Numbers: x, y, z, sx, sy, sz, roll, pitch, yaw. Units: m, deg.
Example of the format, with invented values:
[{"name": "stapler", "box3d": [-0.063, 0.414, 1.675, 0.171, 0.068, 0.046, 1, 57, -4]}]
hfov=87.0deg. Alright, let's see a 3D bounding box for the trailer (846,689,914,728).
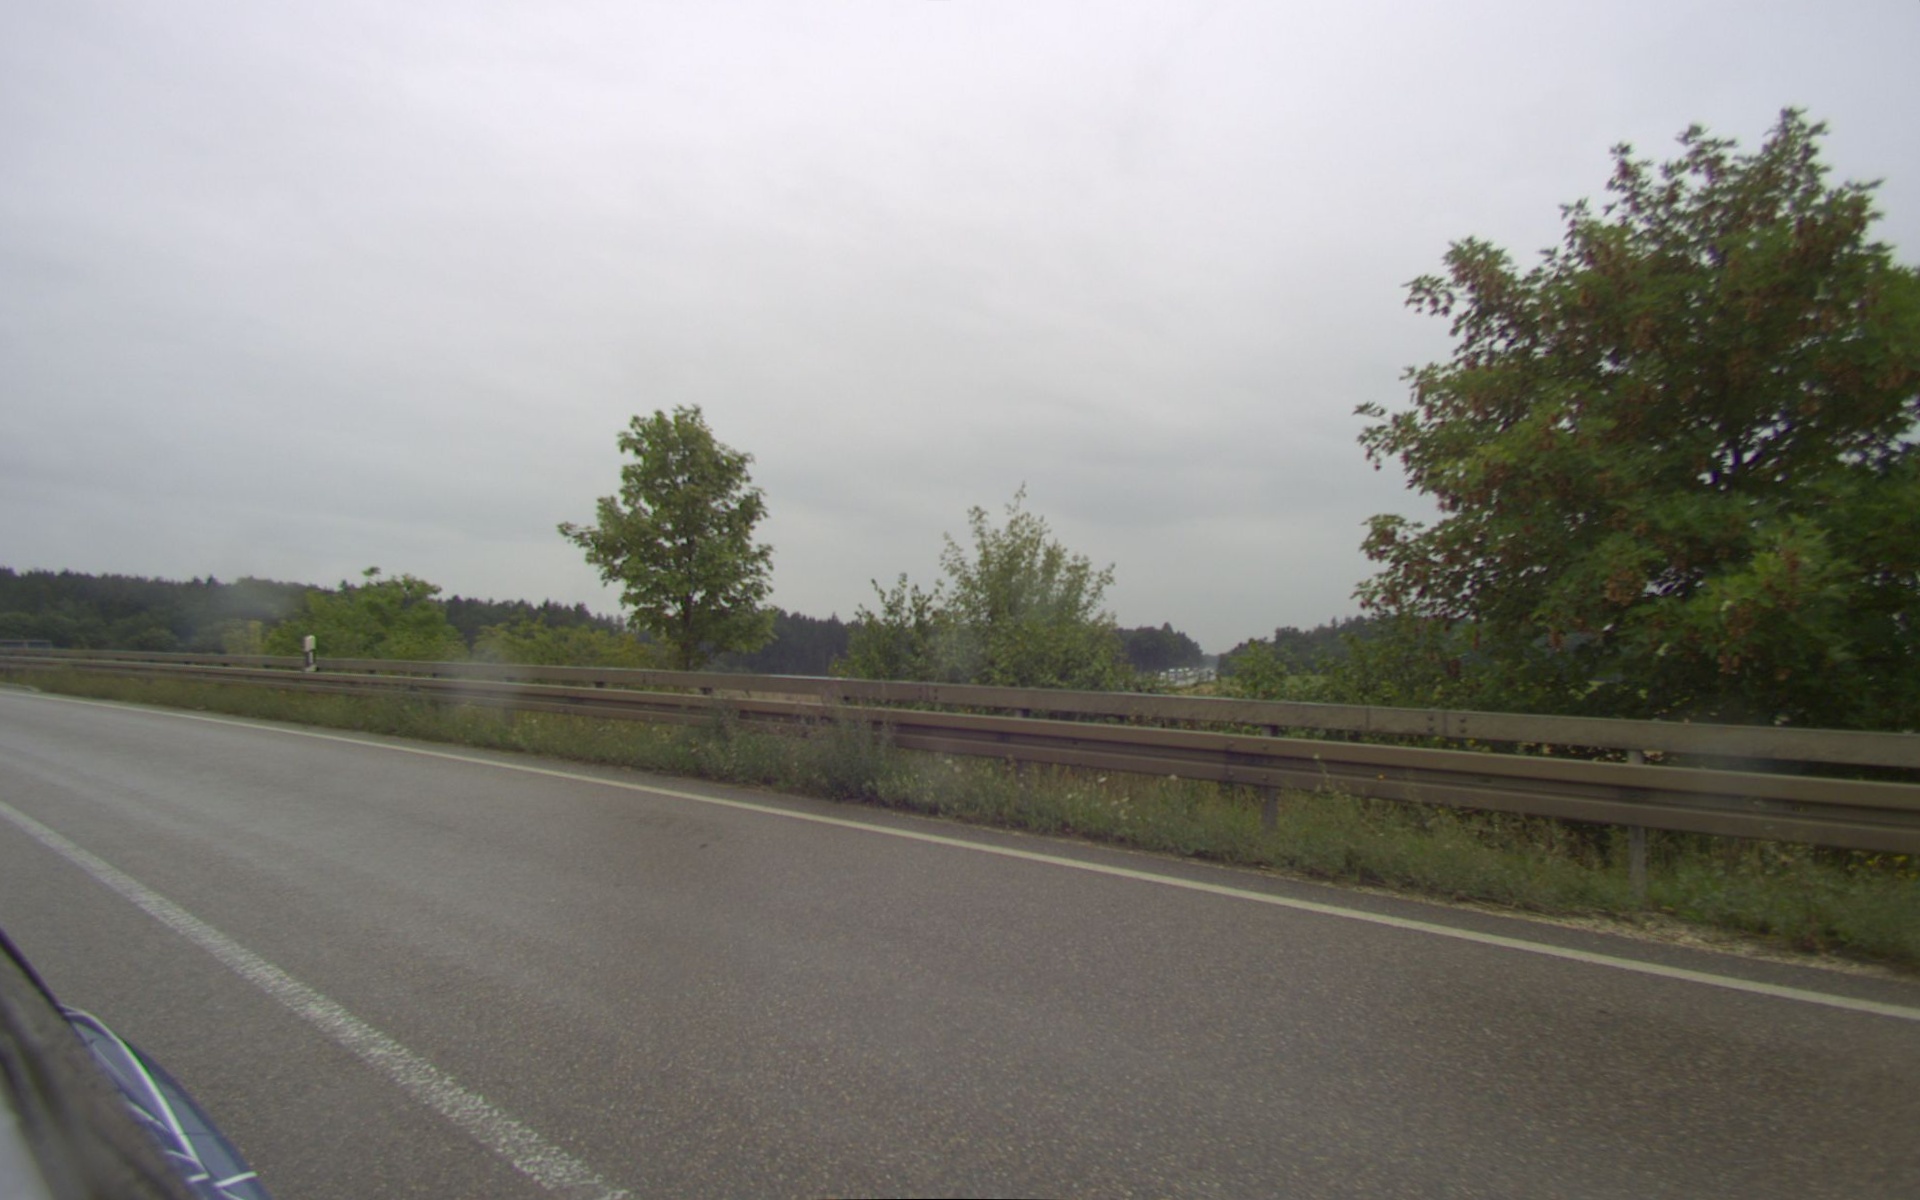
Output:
[{"name": "trailer", "box3d": [-10.181, 13.879, 130.824, 2.862, 4.251, 14.264, -2, -4, 21]}]
